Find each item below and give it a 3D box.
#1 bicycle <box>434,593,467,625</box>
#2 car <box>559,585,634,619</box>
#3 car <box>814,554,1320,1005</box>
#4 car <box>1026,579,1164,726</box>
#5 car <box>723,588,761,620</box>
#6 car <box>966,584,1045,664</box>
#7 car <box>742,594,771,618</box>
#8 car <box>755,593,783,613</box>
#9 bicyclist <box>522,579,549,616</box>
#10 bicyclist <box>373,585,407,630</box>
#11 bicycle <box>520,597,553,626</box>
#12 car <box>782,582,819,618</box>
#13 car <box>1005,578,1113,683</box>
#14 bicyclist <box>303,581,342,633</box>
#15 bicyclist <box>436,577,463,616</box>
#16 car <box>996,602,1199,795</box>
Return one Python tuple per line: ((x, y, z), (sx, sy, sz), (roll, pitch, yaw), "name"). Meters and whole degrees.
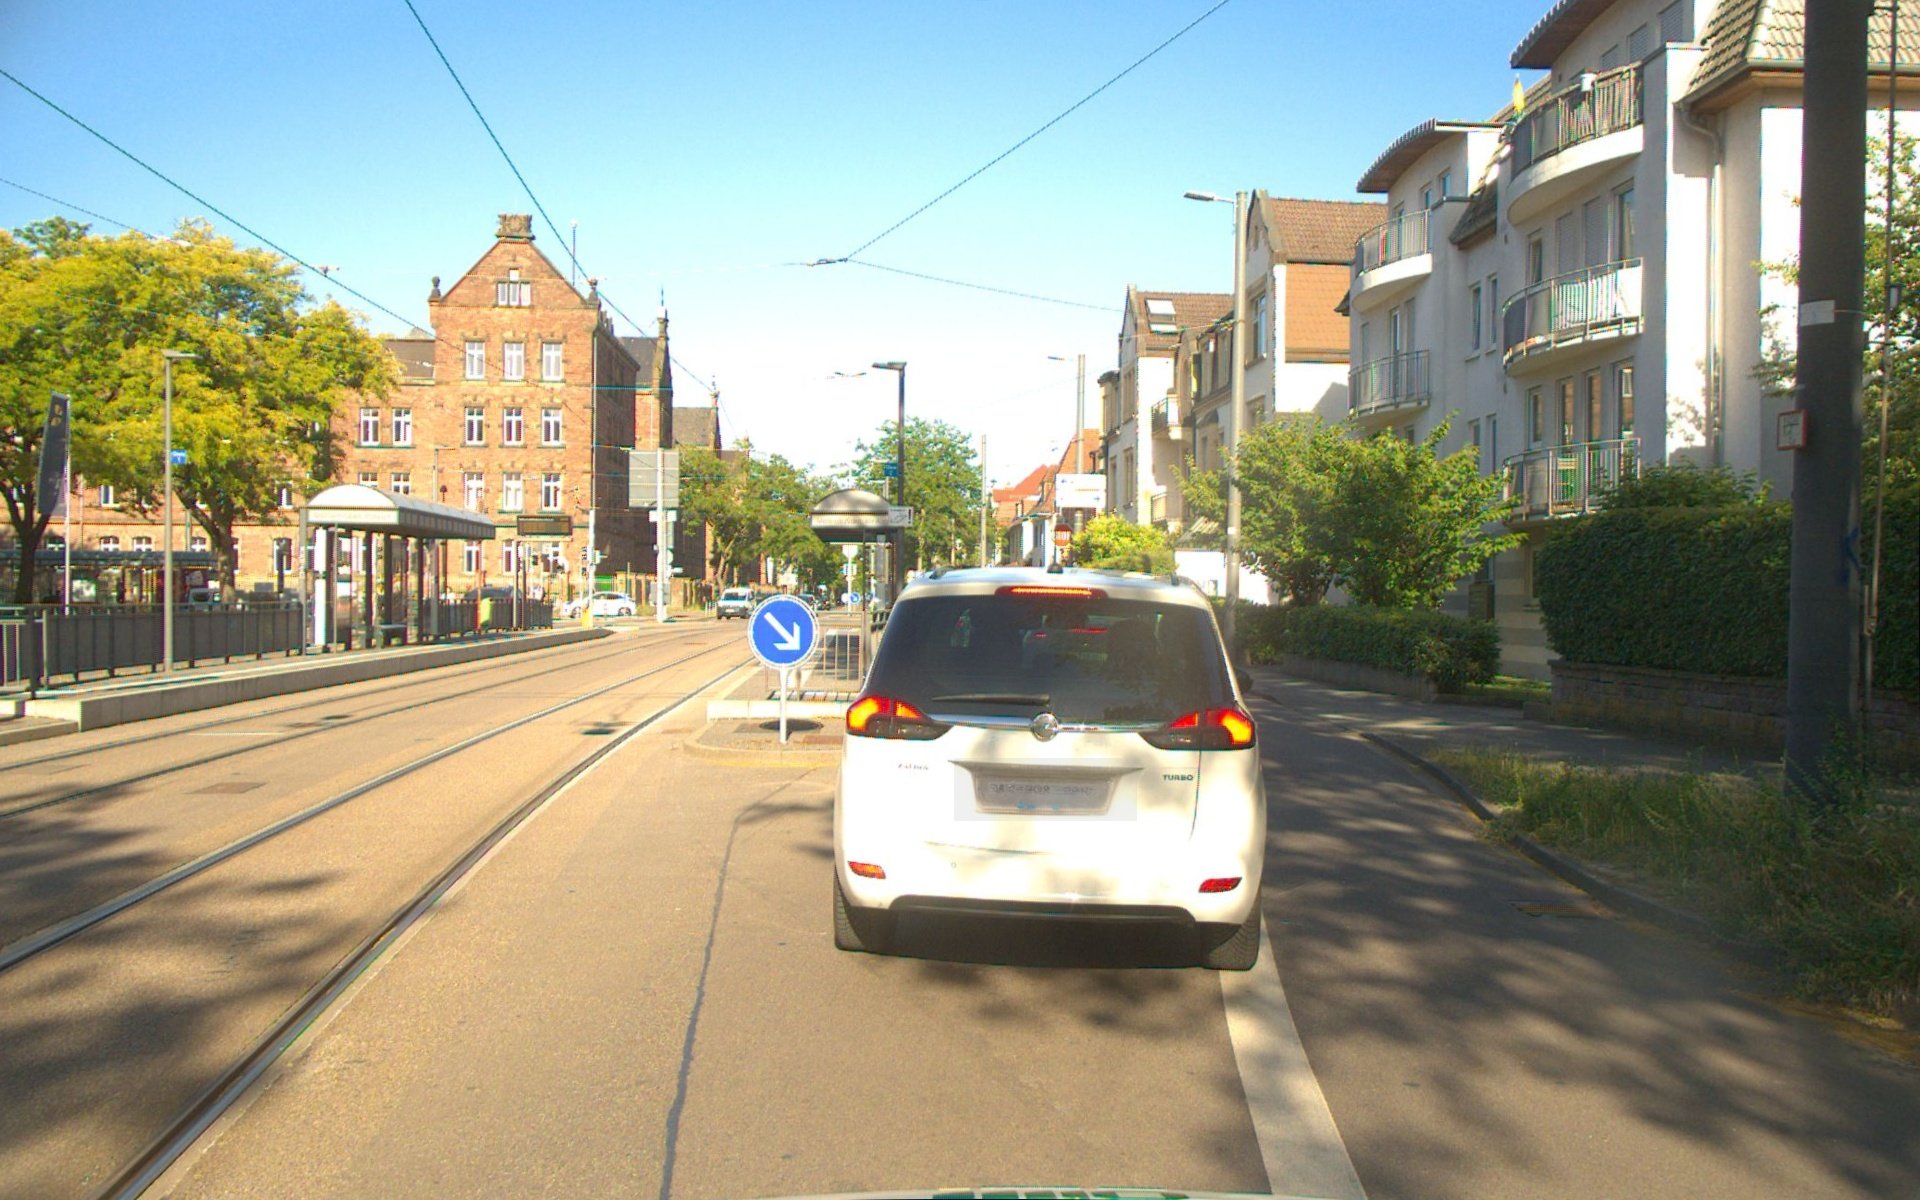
((-19.681, 0.330, 63.938), (0.799, 1.219, 1.951), (0, 0, -5), "bicycle")
((-20.330, 0.121, 92.559), (3.928, 1.841, 1.694), (0, 0, -20), "car")
((0.548, 0.642, 8.091), (1.838, 1.613, 4.002), (1, 0, 5), "car")
((1.714, 0.592, 21.053), (1.536, 1.643, 3.786), (2, 0, 5), "car")
((-12.796, 0.211, 97.290), (1.790, 1.819, 4.254), (0, 0, -2), "car")
((0.996, 0.526, 37.735), (1.563, 1.663, 3.900), (2, 0, -1), "car")
((-14.413, 0.457, 117.437), (1.791, 1.645, 4.324), (1, -1, -4), "car")
((-14.412, 0.232, 124.941), (1.791, 1.471, 4.324), (1, -1, -4), "car")
((-18.239, -0.093, 71.166), (0.744, 1.563, 1.348), (0, 0, 3), "bicyclist")
((-18.839, 0.242, 54.675), (0.639, 1.485, 1.152), (0, 0, 4), "bicyclist")
((-18.231, 0.482, 71.221), (0.760, 1.252, 2.089), (0, 0, 4), "bicycle")
((-9.446, -0.014, 98.083), (1.953, 2.049, 3.998), (0, 0, -2), "car")
((1.684, 0.492, 29.189), (1.563, 1.663, 3.900), (2, 0, -1), "car")
((-18.493, 0.195, 47.989), (0.639, 1.485, 1.152), (0, 0, 1), "bicyclist")
((-19.675, -0.144, 63.810), (0.741, 1.496, 1.189), (0, 0, -5), "bicyclist")
((1.226, 0.766, 14.793), (1.536, 1.426, 3.786), (2, 0, 5), "car")
